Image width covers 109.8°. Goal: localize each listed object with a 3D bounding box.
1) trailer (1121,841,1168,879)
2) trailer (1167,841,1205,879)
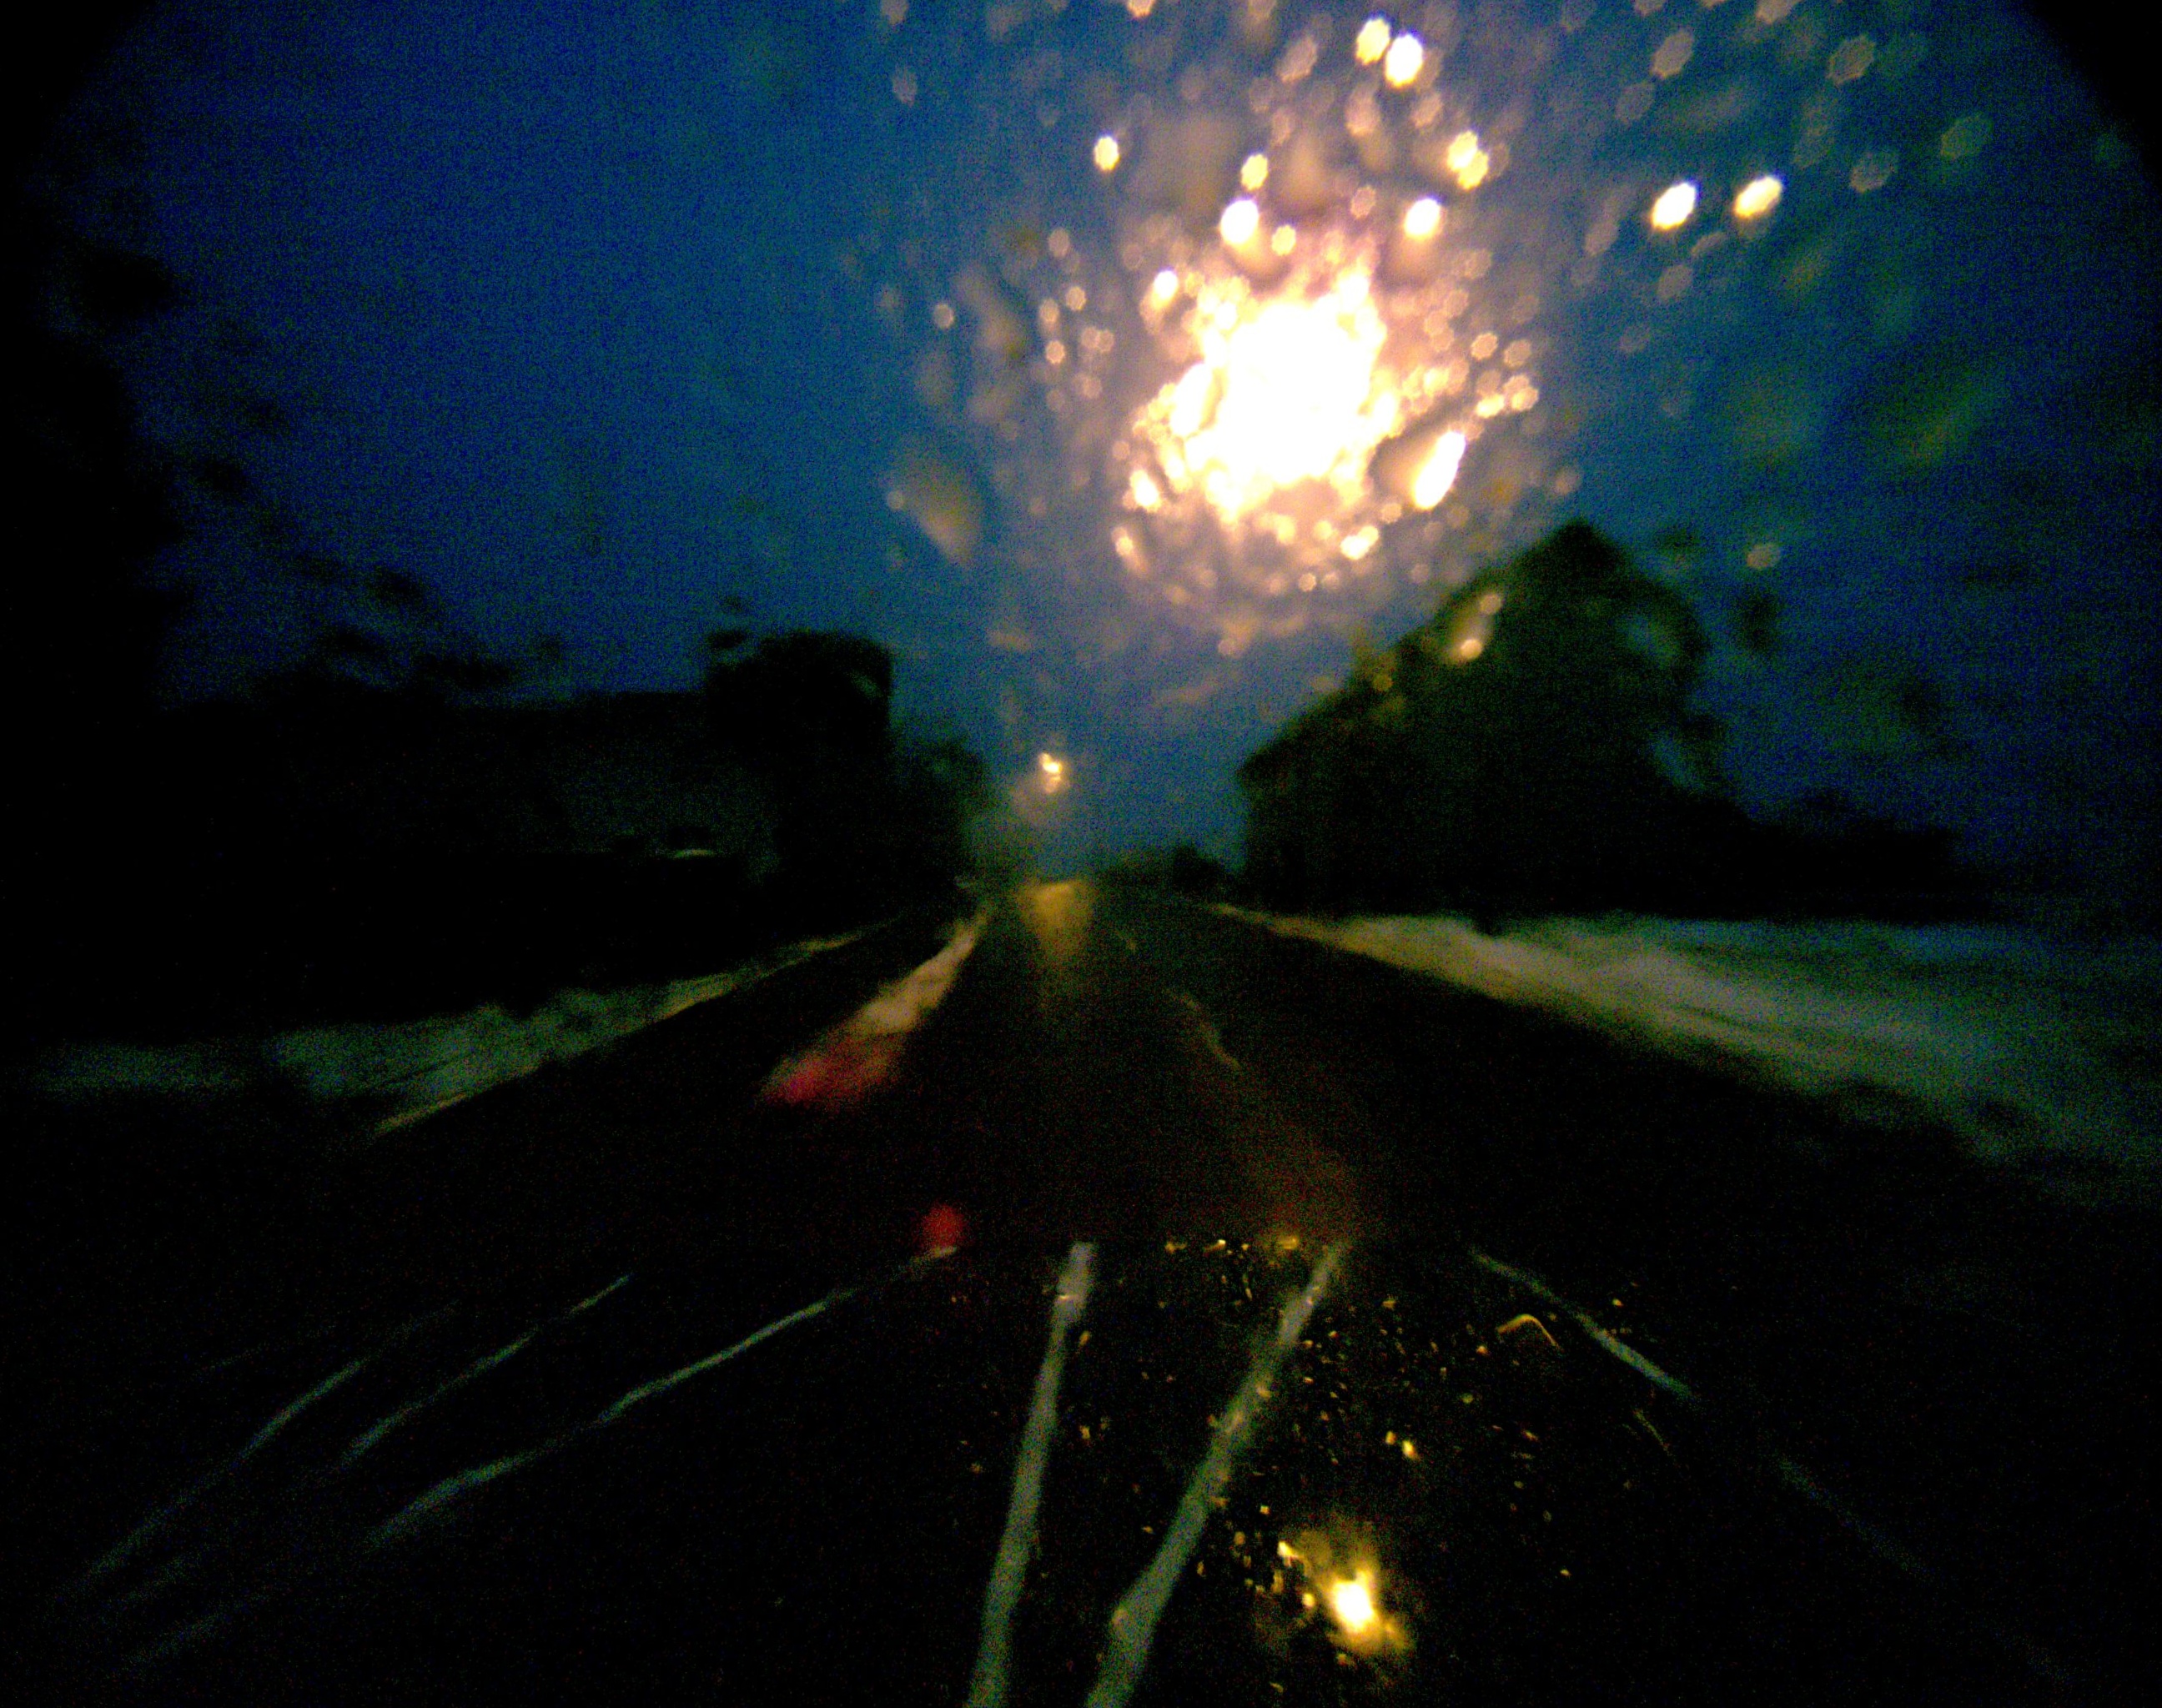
[{"bbox_3d":[4.589,0.464,55.432,1.698,2.589,3.437,4,-2,-28],"label":"trailer"},{"bbox_3d":[7.421,0.493,54.204,1.999,2.474,4.011,3,-2,0],"label":"trailer"}]
